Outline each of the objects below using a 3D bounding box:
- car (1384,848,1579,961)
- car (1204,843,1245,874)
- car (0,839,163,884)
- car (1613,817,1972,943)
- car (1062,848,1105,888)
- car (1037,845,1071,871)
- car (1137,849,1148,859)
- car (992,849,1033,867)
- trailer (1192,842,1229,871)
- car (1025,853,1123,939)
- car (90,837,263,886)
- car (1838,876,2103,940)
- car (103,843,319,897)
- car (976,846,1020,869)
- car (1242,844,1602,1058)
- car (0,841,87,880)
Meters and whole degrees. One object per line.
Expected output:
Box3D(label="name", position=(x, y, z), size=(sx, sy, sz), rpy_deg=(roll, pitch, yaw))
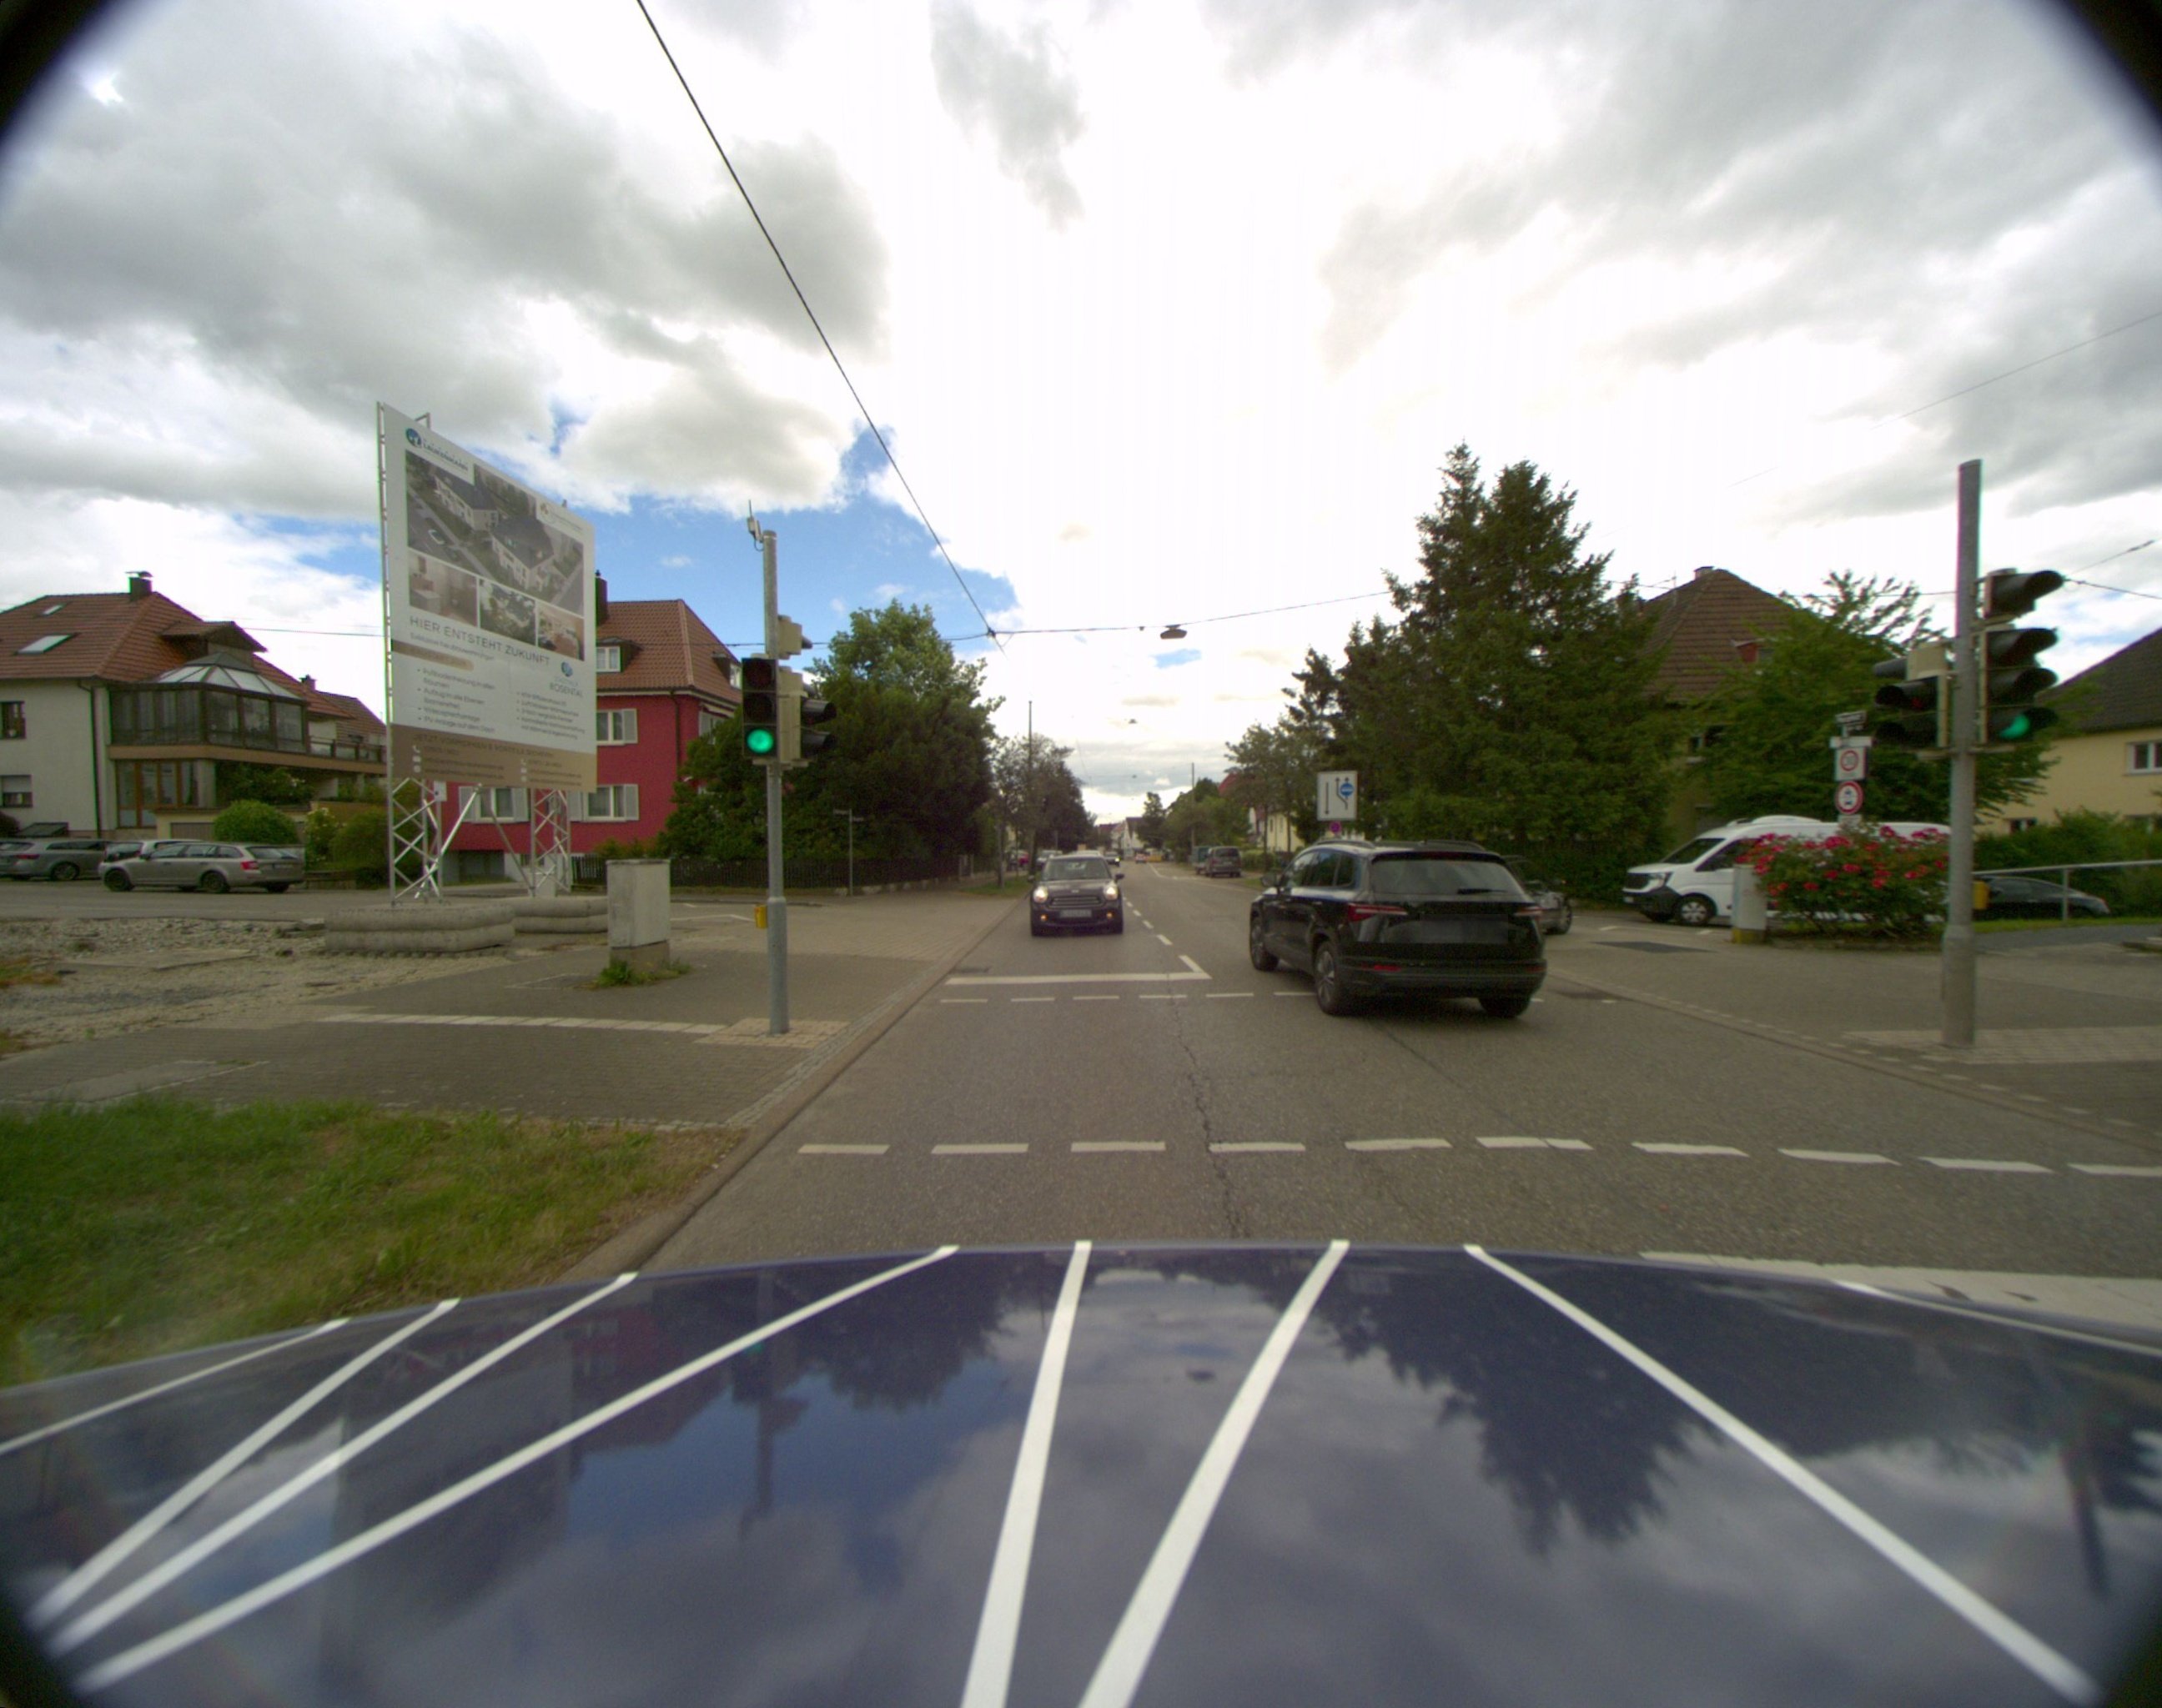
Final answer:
Box3D(label="car", position=(7.130, 0.705, 13.260), size=(1.994, 1.611, 4.657), rpy_deg=(0, 1, 41))
Box3D(label="car", position=(9.271, 0.264, 49.510), size=(1.998, 1.938, 4.899), rpy_deg=(0, 0, 3))
Box3D(label="car", position=(-35.193, 0.233, 26.631), size=(1.621, 1.459, 3.501), rpy_deg=(-2, 1, 2))
Box3D(label="car", position=(16.017, 0.484, 17.580), size=(5.611, 2.549, 2.133), rpy_deg=(2, 2, 17))
Box3D(label="car", position=(0.171, 0.552, 32.668), size=(1.589, 1.598, 3.685), rpy_deg=(0, 0, 4))
Box3D(label="car", position=(-1.958, 0.282, 56.059), size=(1.902, 1.826, 4.916), rpy_deg=(1, 0, 5))
Box3D(label="car", position=(10.791, -0.025, 132.874), size=(1.825, 1.594, 4.300), rpy_deg=(0, 0, 6))
Box3D(label="car", position=(-5.792, 0.338, 64.564), size=(3.361, 1.451, 1.749), rpy_deg=(0, 1, -4))
Box3D(label="trailer", position=(9.581, 0.151, 56.539), size=(2.159, 2.076, 4.426), rpy_deg=(0, 0, 3))
Box3D(label="car", position=(-0.028, 0.814, 16.497), size=(1.743, 1.573, 3.685), rpy_deg=(-3, 0, 4))
Box3D(label="car", position=(-30.805, 0.224, 26.036), size=(1.621, 1.531, 3.501), rpy_deg=(-2, 1, 2))
Box3D(label="car", position=(21.930, 1.284, 18.907), size=(4.127, 1.346, 1.799), rpy_deg=(2, -1, 7))
Box3D(label="car", position=(-24.999, 0.454, 21.931), size=(4.230, 1.416, 1.761), rpy_deg=(1, -1, 1))
Box3D(label="car", position=(-6.700, 0.282, 61.465), size=(3.360, 1.624, 1.580), rpy_deg=(3, 1, -1))
Box3D(label="car", position=(3.099, 0.774, 7.956), size=(1.900, 1.615, 4.000), rpy_deg=(2, 0, 0))
Box3D(label="car", position=(-37.959, 0.249, 26.606), size=(1.621, 1.316, 3.501), rpy_deg=(-2, 1, 2))
